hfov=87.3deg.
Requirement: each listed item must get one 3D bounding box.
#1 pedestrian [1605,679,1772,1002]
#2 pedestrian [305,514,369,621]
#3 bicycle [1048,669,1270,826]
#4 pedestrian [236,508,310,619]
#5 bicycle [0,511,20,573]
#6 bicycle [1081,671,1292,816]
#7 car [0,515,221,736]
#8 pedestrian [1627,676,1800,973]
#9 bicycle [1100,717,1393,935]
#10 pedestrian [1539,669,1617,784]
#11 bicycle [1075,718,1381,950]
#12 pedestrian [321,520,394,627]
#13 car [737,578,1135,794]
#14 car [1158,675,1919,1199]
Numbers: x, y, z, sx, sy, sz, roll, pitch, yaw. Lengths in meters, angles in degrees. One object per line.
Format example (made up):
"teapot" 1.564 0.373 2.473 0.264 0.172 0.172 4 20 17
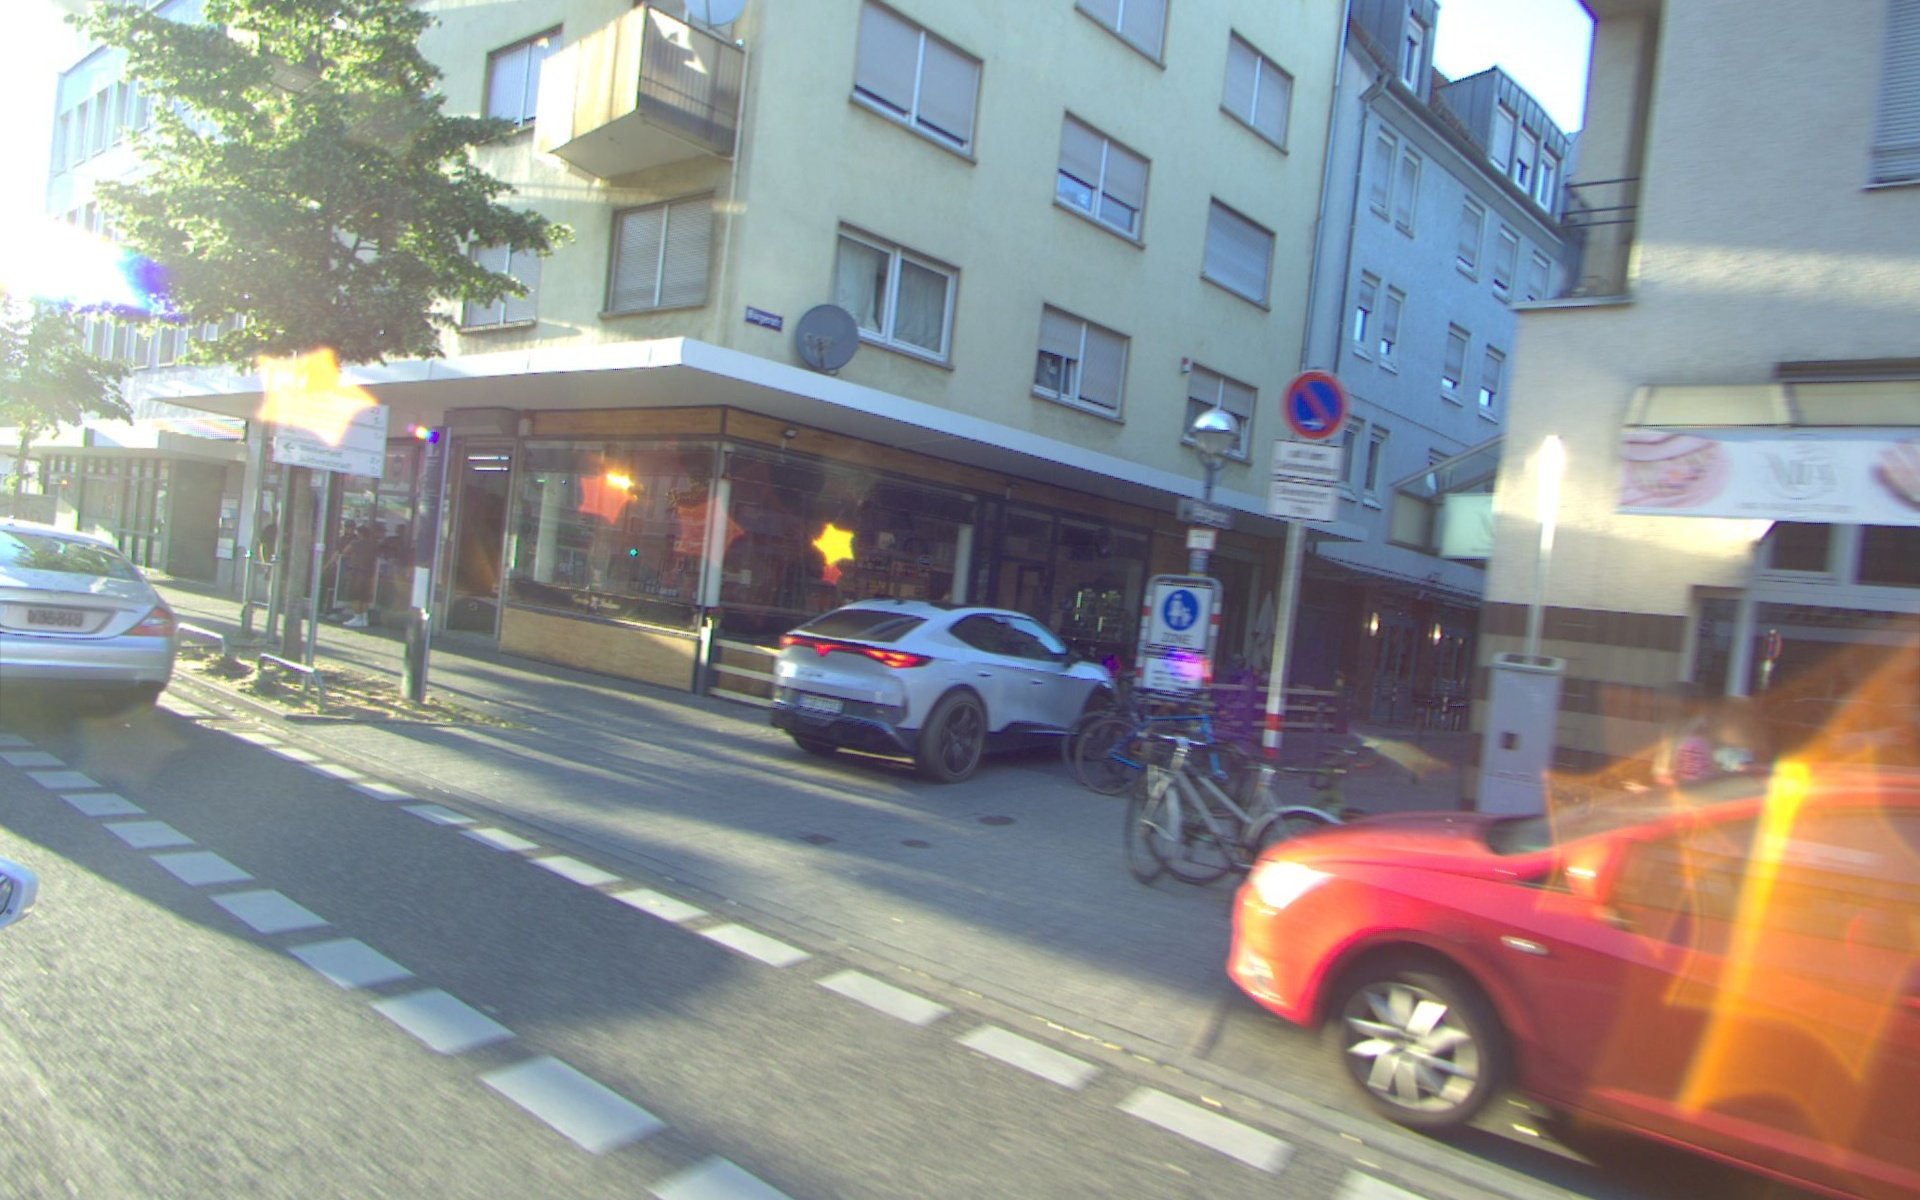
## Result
"pedestrian" 3.909 1.236 5.397 0.546 1.549 0.539 7 1 40
"pedestrian" -11.135 -0.571 17.989 0.518 1.804 0.582 8 0 16
"bicycle" 1.731 1.262 8.926 1.814 1.063 0.391 6 1 32
"pedestrian" -12.153 -0.644 17.805 0.640 1.829 0.708 7 0 35
"bicycle" -19.727 -1.224 19.640 0.461 1.218 1.917 7 0 24
"bicycle" 2.101 1.311 9.490 1.814 1.046 0.391 6 1 32
"car" -7.950 0.014 8.051 4.479 1.394 1.803 7 -2 34
"pedestrian" 4.416 1.265 5.901 0.641 1.549 0.539 7 1 40
"bicycle" 1.742 1.339 6.248 1.613 0.968 0.391 6 1 32
"pedestrian" 9.795 1.972 15.979 0.745 1.665 0.915 7 1 22
"bicycle" 1.524 1.297 5.864 1.589 0.968 0.391 6 1 32
"pedestrian" -10.247 -0.449 17.106 0.765 1.679 0.642 7 0 35
"car" -0.033 0.808 10.387 1.828 1.632 4.167 6 1 37
"car" 2.947 1.251 3.516 3.968 1.440 1.722 7 1 34
